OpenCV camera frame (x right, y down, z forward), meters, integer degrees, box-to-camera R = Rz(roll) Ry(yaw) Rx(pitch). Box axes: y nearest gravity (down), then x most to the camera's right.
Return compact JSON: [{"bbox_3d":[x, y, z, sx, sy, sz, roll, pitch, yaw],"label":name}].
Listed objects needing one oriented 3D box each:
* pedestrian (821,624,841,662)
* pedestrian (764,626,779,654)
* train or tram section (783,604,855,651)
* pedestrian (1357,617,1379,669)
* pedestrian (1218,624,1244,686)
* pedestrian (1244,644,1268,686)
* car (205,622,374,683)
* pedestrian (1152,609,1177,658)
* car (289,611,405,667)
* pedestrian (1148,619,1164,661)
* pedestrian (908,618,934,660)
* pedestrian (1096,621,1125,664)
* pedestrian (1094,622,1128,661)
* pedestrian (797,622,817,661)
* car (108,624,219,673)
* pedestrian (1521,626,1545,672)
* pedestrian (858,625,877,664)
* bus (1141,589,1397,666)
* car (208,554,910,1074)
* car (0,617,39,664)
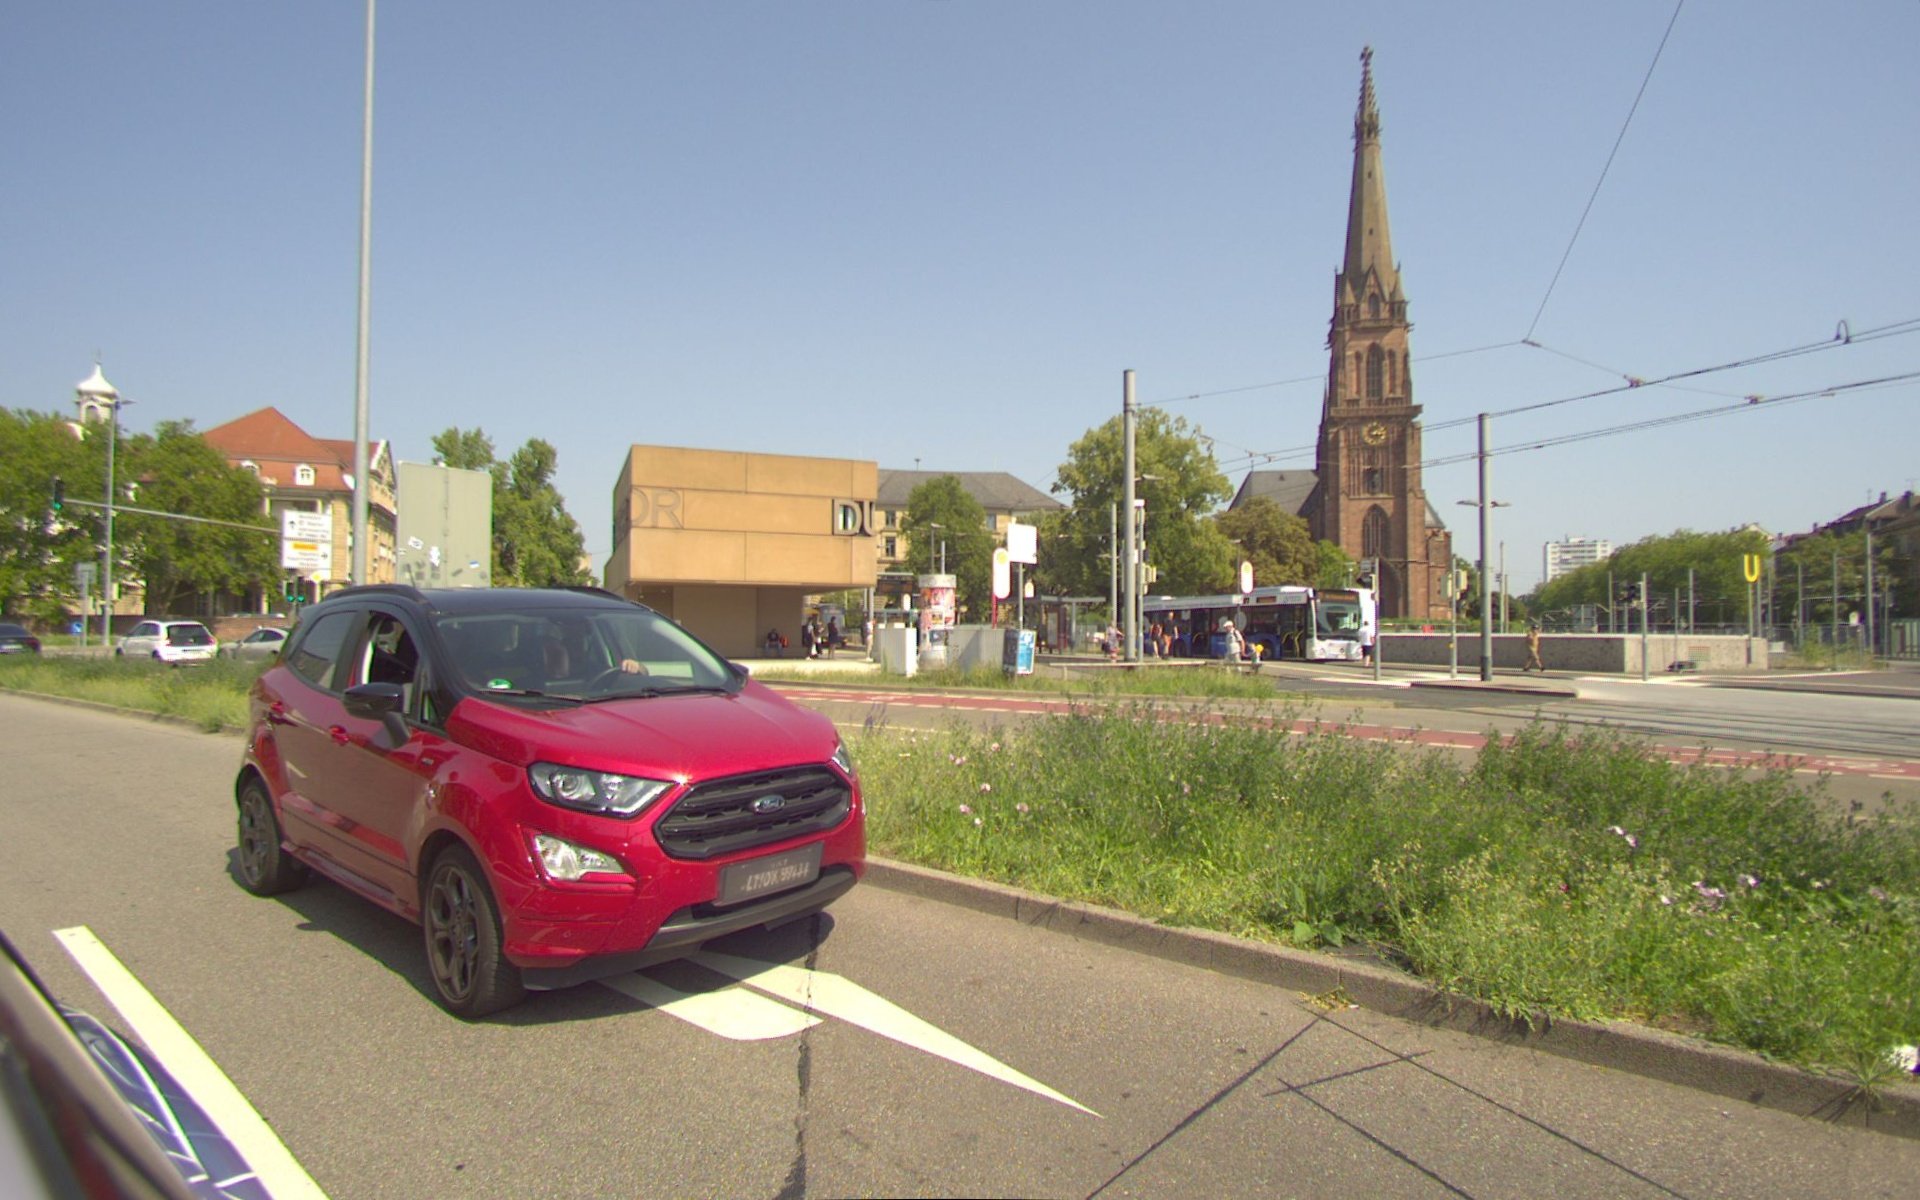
[{"bbox_3d":[-5.098,1.687,39.941,0.541,1.508,0.532,-1,-3,39],"label":"pedestrian"},{"bbox_3d":[-7.556,1.595,40.559,0.530,1.108,0.543,1,-2,-18],"label":"pedestrian"},{"bbox_3d":[-11.551,2.220,81.348,2.658,3.465,13.464,1,-2,-21],"label":"train or tram section"},{"bbox_3d":[14.770,1.547,36.654,0.636,1.825,0.595,-1,0,32],"label":"pedestrian"},{"bbox_3d":[7.686,1.555,28.745,0.686,1.724,0.534,0,-2,13],"label":"pedestrian"},{"bbox_3d":[8.279,1.805,28.284,0.596,1.134,0.635,-1,0,14],"label":"pedestrian"},{"bbox_3d":[-18.998,1.447,28.646,4.693,1.597,1.981,-1,-2,28],"label":"car"},{"bbox_3d":[7.799,1.281,38.618,0.792,1.837,0.535,1,-2,-21],"label":"pedestrian"},{"bbox_3d":[-21.768,1.348,35.909,3.900,1.868,1.850,0,-2,30],"label":"car"},{"bbox_3d":[8.626,1.761,44.564,0.632,1.825,0.599,-1,0,16],"label":"pedestrian"},{"bbox_3d":[-1.450,1.442,37.476,0.605,1.508,0.761,-1,-3,39],"label":"pedestrian"},{"bbox_3d":[6.547,1.849,44.108,0.913,1.837,0.940,1,-2,-22],"label":"pedestrian"},{"bbox_3d":[6.571,1.803,44.178,1.060,1.709,1.068,1,-2,-21],"label":"pedestrian"},{"bbox_3d":[-5.893,1.605,39.023,0.541,1.508,0.532,-1,-3,39],"label":"pedestrian"},{"bbox_3d":[-25.505,1.533,32.396,3.460,1.490,1.512,-1,-2,27],"label":"car"},{"bbox_3d":[21.373,1.827,37.769,0.463,1.671,0.606,1,-2,-23],"label":"pedestrian"},{"bbox_3d":[-3.642,1.745,39.831,0.541,1.508,0.532,-1,-3,39],"label":"pedestrian"},{"bbox_3d":[12.247,1.181,42.298,3.346,2.733,12.382,1,-2,-21],"label":"bus"},{"bbox_3d":[-2.213,0.691,5.023,3.843,1.598,1.672,-2,-1,41],"label":"car"},{"bbox_3d":[-30.444,1.263,31.675,3.466,1.437,1.510,-1,-2,32],"label":"car"}]
